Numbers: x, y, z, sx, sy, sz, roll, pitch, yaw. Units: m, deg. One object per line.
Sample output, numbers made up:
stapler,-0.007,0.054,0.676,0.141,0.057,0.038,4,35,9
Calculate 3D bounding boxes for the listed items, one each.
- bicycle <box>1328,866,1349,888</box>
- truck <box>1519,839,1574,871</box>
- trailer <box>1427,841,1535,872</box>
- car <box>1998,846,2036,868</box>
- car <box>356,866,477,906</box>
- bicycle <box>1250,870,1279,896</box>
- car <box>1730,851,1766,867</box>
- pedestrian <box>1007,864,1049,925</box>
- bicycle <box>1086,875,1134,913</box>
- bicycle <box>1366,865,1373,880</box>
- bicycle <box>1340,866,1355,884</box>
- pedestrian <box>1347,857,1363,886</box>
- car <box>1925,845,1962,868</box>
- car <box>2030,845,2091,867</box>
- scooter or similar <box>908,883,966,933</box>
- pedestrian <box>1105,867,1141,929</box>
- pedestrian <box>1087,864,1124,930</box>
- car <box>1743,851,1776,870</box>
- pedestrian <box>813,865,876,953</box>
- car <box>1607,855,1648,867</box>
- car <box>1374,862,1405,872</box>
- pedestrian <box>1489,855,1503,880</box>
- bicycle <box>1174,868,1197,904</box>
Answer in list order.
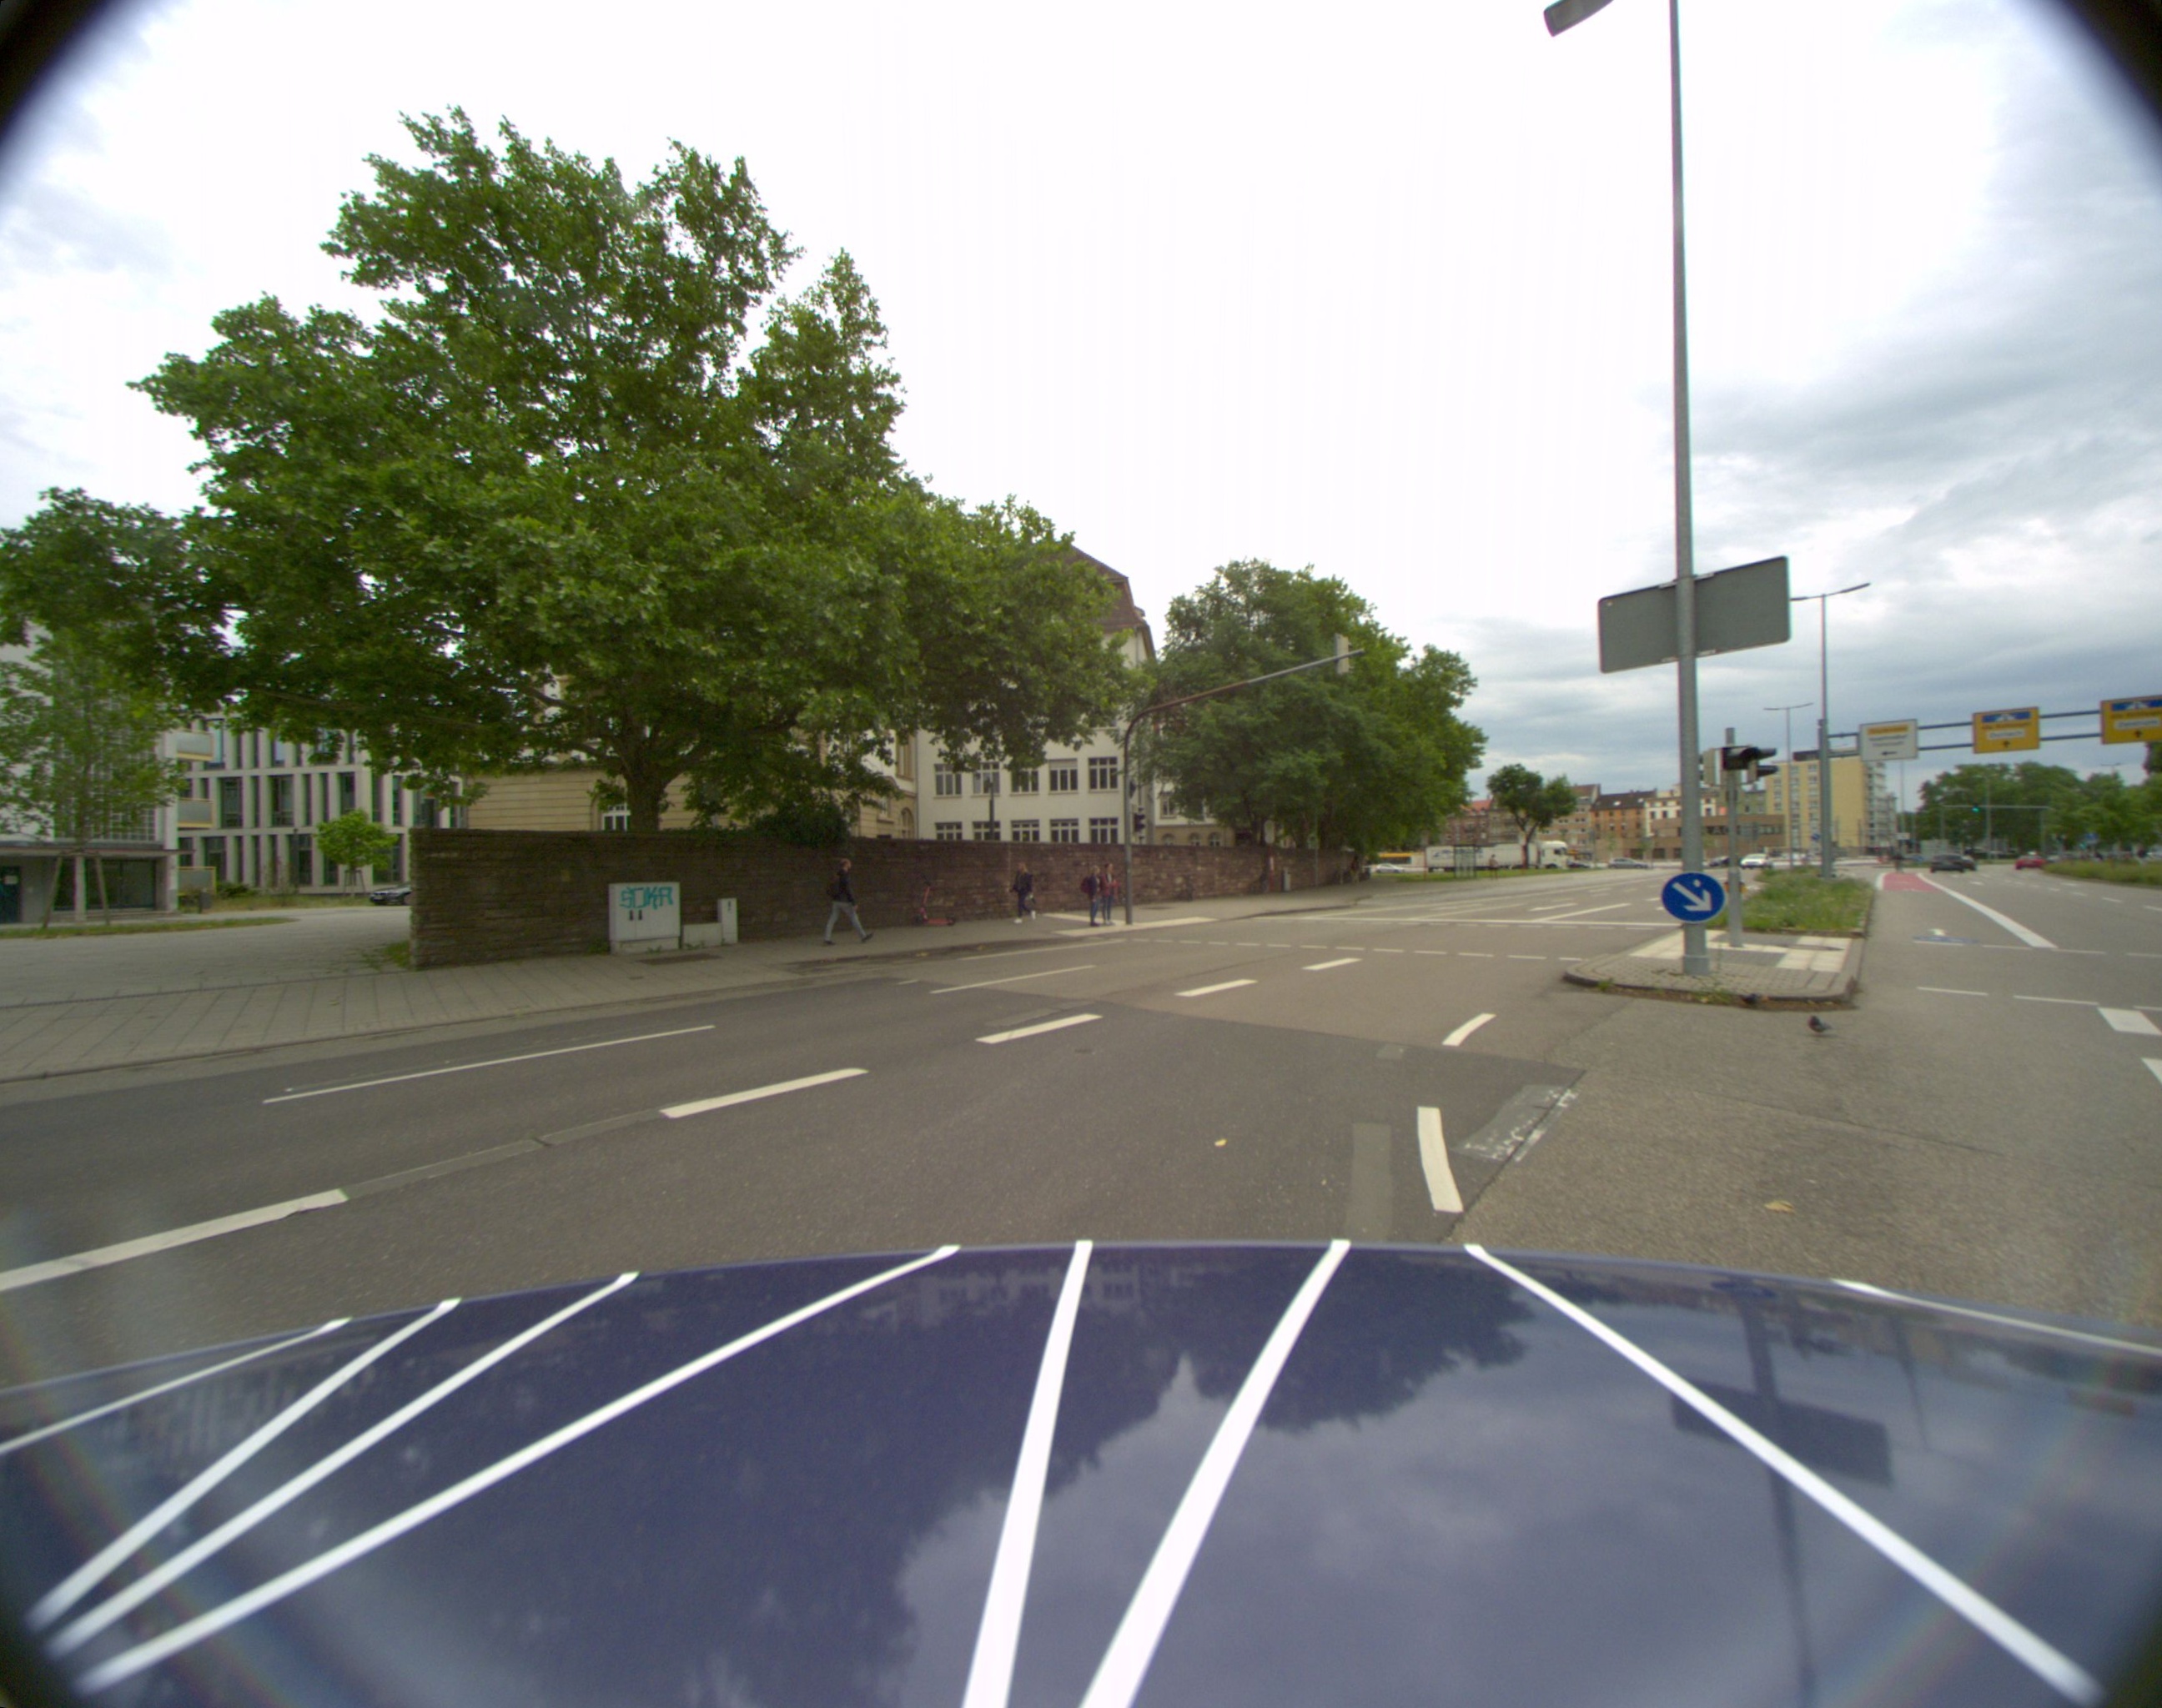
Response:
bicycle,15.927,1.414,46.976,0.663,1.258,2.548,1,0,32
truck,59.070,0.153,96.465,5.436,3.801,2.850,-2,1,42
trailer,53.285,0.378,101.669,12.341,3.801,2.850,-2,1,42
car,89.540,0.290,72.676,4.007,2.001,1.995,-1,-1,-35
car,-35.249,1.678,40.512,1.998,1.572,4.405,-12,-1,9
bicycle,8.818,1.385,36.438,0.663,1.141,2.160,1,0,32
car,84.905,0.584,96.747,4.005,2.002,1.996,-1,0,-26
pedestrian,-1.508,1.124,21.630,0.788,1.655,0.811,3,3,42
bicycle,1.006,1.340,25.705,0.581,1.178,2.160,1,0,34
bicycle,23.555,1.513,62.073,0.507,1.141,2.251,1,0,22
bicycle,17.704,1.384,50.407,0.506,1.141,2.252,1,0,30
pedestrian,16.754,1.085,46.451,0.789,1.749,0.774,-1,0,30
car,72.164,0.203,63.584,4.008,1.783,1.995,-1,-1,-41
car,100.673,0.207,78.183,1.996,2.001,4.006,-4,-1,21
scooter or similar,-3.771,1.400,19.954,1.415,1.223,0.494,0,1,-29
pedestrian,1.170,1.205,21.354,0.777,1.683,0.644,1,1,41
pedestrian,0.667,1.152,20.762,0.733,1.729,0.672,0,1,40
car,70.308,0.638,78.713,5.384,1.687,2.043,-2,-2,-44
pedestrian,-4.982,1.123,16.035,0.755,1.778,1.009,1,1,41
car,68.194,0.871,94.834,3.989,1.368,2.004,-2,-1,42
car,46.826,1.980,115.278,3.989,1.368,2.004,-2,-1,40
pedestrian,29.067,0.945,53.206,0.641,1.695,0.710,-1,-1,42
bicycle,4.194,1.257,30.442,0.668,1.372,2.588,-1,0,13
